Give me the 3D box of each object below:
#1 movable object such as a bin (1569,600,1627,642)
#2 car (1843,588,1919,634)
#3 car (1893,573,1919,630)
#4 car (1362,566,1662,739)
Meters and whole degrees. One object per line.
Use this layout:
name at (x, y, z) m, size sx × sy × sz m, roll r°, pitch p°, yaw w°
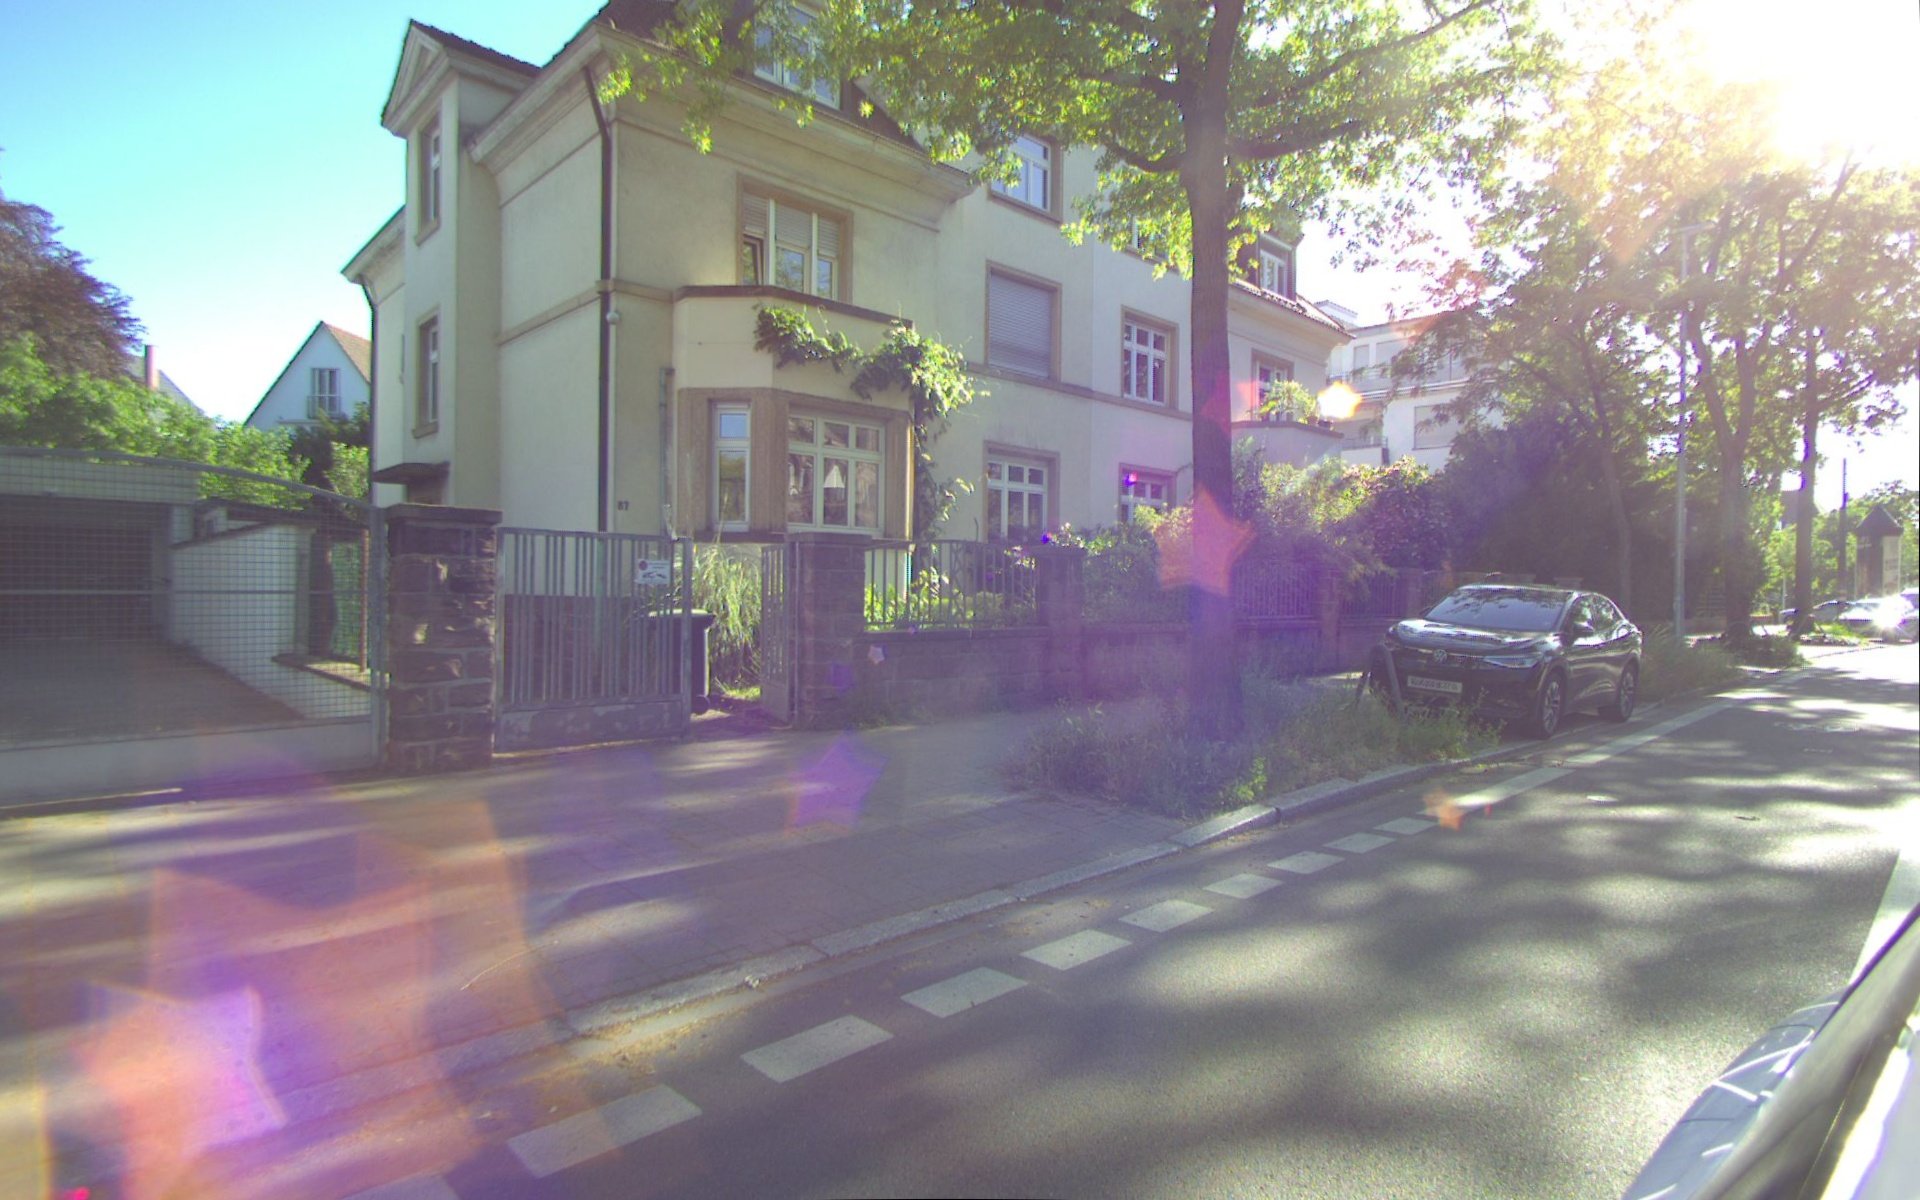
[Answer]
movable object such as a bin at (16.877, 0.547, 26.791) m, size 0.697 × 1.070 × 1.093 m, roll 0°, pitch 0°, yaw -20°
car at (31.548, 0.342, 34.406) m, size 3.930 × 1.469 × 1.785 m, roll 0°, pitch 1°, yaw -41°
car at (36.784, 0.055, 38.067) m, size 4.503 × 2.039 × 1.997 m, roll 0°, pitch 1°, yaw -41°
car at (6.653, 0.498, 12.030) m, size 4.020 × 1.626 × 1.743 m, roll 0°, pitch 4°, yaw -41°
